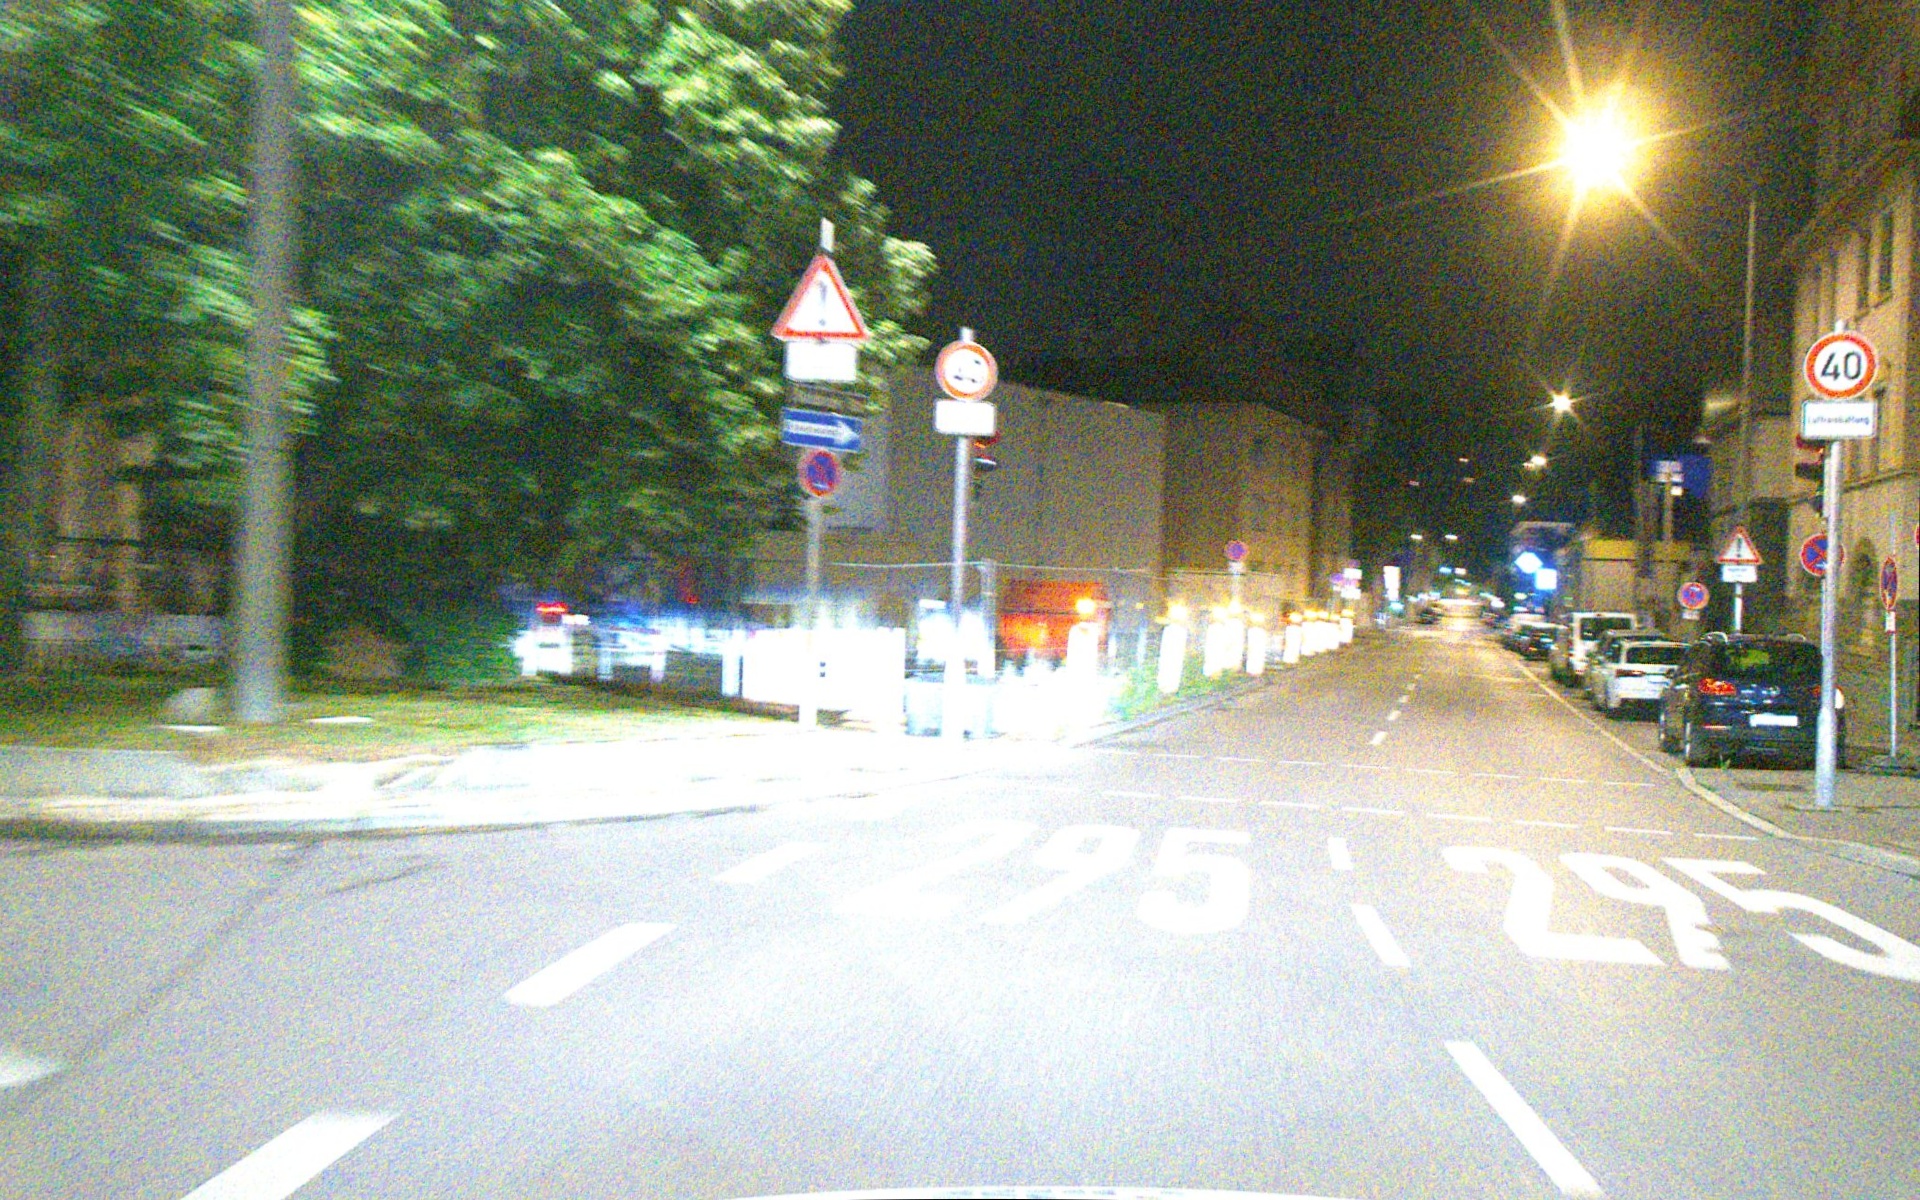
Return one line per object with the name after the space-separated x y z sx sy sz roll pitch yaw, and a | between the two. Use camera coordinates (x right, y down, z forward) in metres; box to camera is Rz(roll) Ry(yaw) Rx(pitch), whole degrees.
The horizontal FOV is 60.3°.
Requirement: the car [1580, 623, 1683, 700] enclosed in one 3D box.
14.977 1.323 37.079 1.707 1.593 4.213 0 -1 16 | car

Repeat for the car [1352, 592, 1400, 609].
40.485 0.074 160.925 4.346 1.475 2.001 2 0 17 | car

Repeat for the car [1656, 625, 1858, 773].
10.354 1.199 21.779 1.707 1.712 4.260 0 -1 16 | car

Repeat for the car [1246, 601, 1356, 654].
13.761 1.107 66.845 3.913 1.922 1.905 2 0 30 | car

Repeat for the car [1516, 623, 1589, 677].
18.503 1.529 51.812 1.780 1.627 4.223 -1 -1 15 | car

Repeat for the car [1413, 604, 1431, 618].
56.217 1.360 201.217 1.952 1.528 4.002 2 0 17 | car

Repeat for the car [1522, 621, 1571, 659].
24.449 1.636 69.067 1.742 1.451 4.482 2 0 18 | car

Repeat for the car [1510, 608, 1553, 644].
30.999 1.390 89.826 1.762 1.908 4.777 0 0 14 | car

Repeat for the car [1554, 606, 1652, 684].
17.341 1.168 44.823 2.028 1.962 5.373 0 -1 17 | car

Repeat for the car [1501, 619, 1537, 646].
31.974 1.828 94.674 1.778 1.452 4.191 0 0 16 | car

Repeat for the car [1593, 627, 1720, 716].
13.335 1.313 31.908 1.707 1.535 4.836 0 -1 16 | car

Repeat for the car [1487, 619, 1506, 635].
58.711 2.930 180.925 1.952 1.542 4.002 3 1 18 | car

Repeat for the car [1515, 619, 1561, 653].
26.528 1.627 75.942 1.741 1.451 3.894 2 0 16 | car

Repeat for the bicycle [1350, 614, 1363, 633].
23.900 1.425 99.693 0.606 1.070 1.722 2 0 18 | bicycle
